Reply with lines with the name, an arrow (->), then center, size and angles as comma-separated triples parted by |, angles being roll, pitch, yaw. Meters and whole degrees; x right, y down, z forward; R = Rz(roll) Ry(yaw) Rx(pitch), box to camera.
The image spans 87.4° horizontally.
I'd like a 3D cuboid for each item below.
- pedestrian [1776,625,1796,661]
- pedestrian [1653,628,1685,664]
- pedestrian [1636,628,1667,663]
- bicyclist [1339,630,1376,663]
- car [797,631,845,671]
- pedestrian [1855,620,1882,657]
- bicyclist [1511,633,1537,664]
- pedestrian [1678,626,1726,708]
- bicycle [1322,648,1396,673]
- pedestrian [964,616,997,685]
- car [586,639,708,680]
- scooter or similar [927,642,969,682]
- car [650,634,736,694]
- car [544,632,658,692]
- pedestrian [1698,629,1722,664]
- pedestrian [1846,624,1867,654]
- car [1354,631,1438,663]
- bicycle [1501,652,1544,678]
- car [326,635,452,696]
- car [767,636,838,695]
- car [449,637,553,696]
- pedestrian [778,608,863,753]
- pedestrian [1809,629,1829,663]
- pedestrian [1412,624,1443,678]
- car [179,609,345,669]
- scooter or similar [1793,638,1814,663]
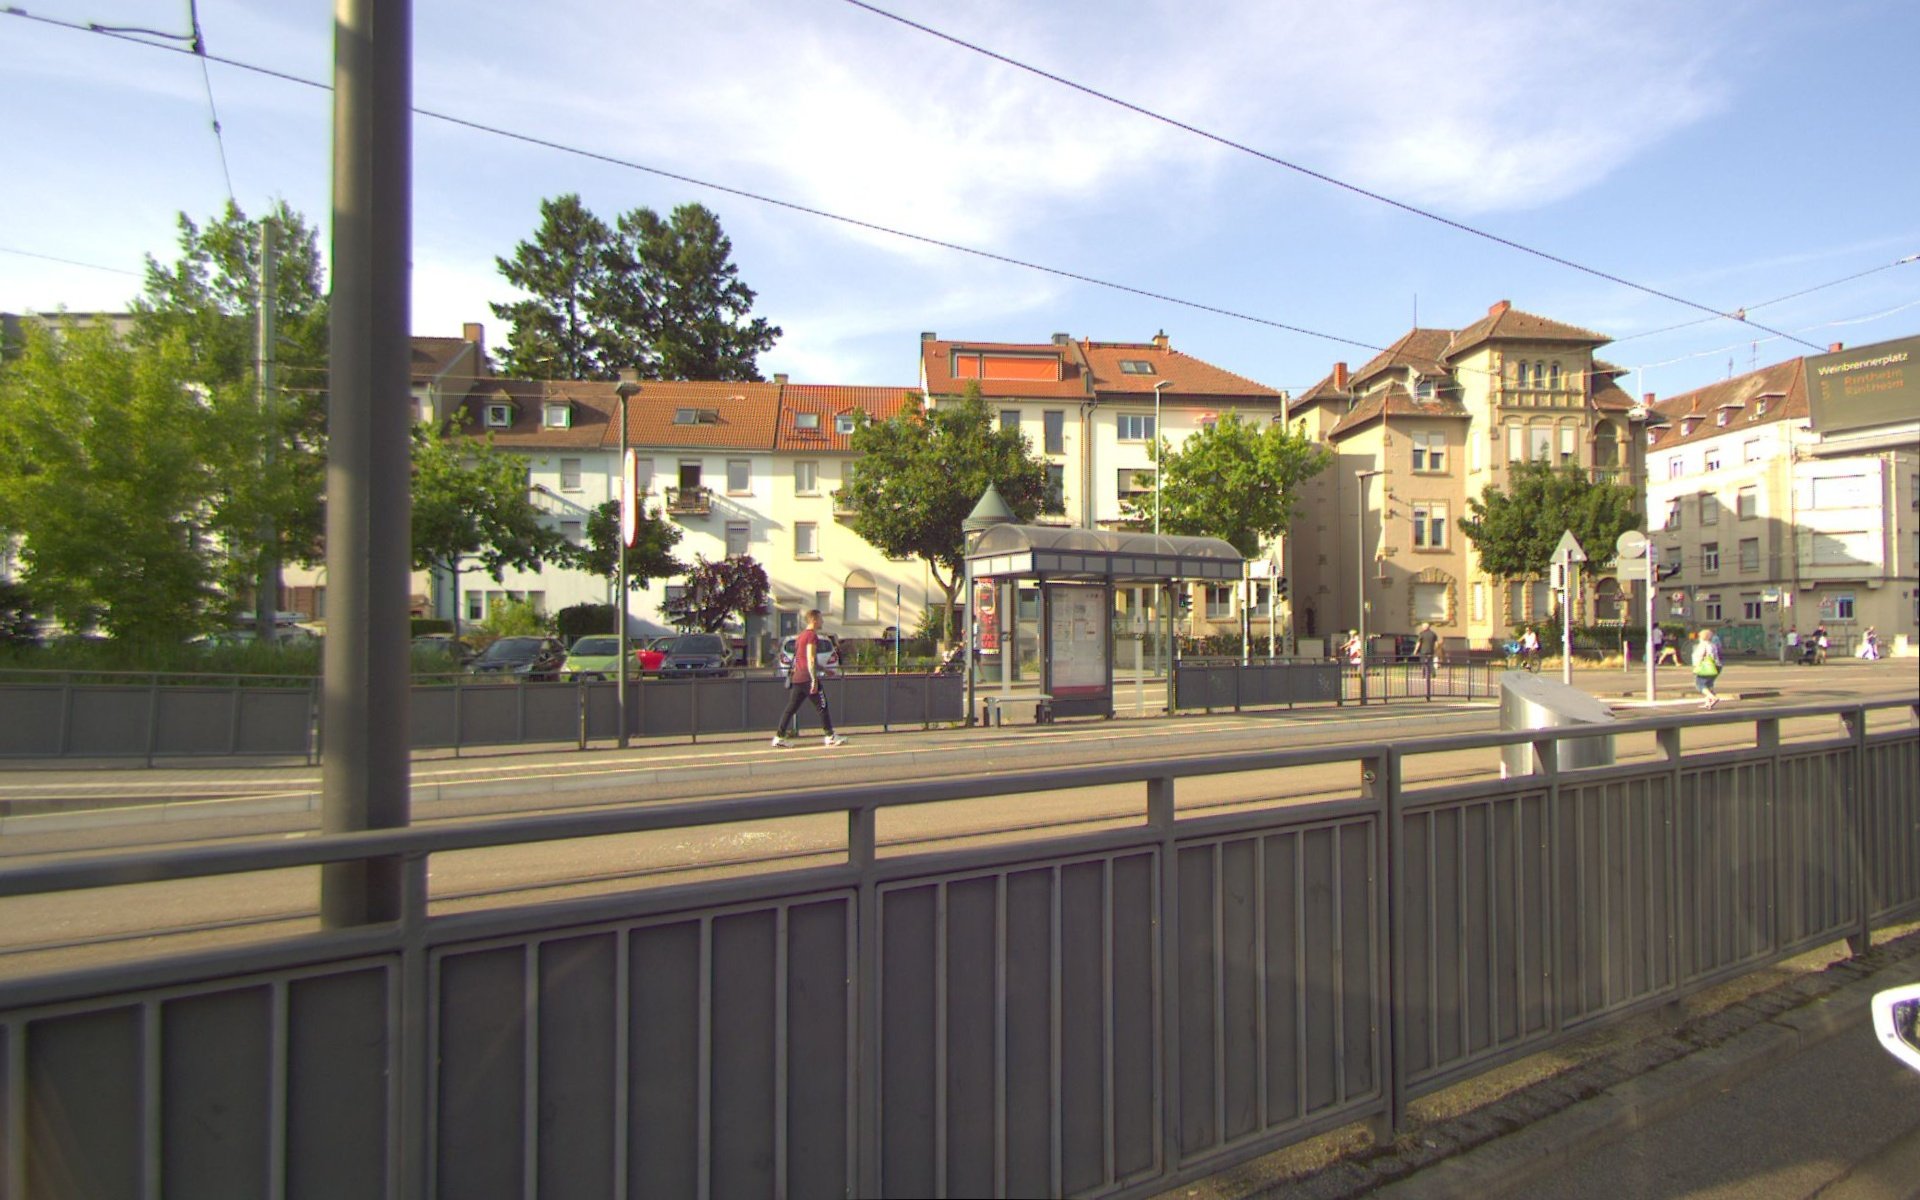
pedestrian -> 37.928, 1.954, 46.131 | 0.601, 1.647, 0.506 | 1, -2, -29
pedestrian -> 31.022, 2.001, 43.966 | 0.768, 1.572, 0.831 | 0, -2, -8
pedestrian -> 30.917, 2.022, 44.926 | 0.768, 1.572, 0.831 | 0, -2, -8
bicyclist -> 15.454, 1.796, 39.055 | 1.157, 1.278, 0.762 | 1, -2, -22
car -> -6.058, 2.199, 44.207 | 1.962, 1.684, 3.997 | 0, -2, -6
pedestrian -> 50.184, 2.118, 55.471 | 0.773, 2.040, 0.775 | 0, -2, -15
bicyclist -> 19.299, 1.651, 34.373 | 0.672, 1.058, 0.510 | 1, -2, -31
pedestrian -> 15.001, 1.350, 20.306 | 0.627, 1.620, 0.608 | 1, -2, -36
bicycle -> 15.518, 2.349, 39.061 | 2.954, 0.926, 0.783 | 1, -2, -22
pedestrian -> 0.523, 1.317, 26.190 | 0.750, 1.769, 0.547 | 0, -2, -15
car -> -11.226, 2.124, 36.247 | 3.927, 1.416, 1.836 | 0, -2, -9
scooter or similar -> -0.316, 1.592, 25.966 | 1.006, 1.001, 0.556 | 0, -2, -15
car -> -7.165, 1.684, 27.286 | 1.815, 1.505, 3.995 | 0, -2, -9
car -> -9.624, 1.642, 27.267 | 1.813, 1.505, 3.999 | 0, -2, -3
pedestrian -> 34.401, 2.119, 46.063 | 0.702, 1.561, 0.626 | 1, -2, -30
pedestrian -> 49.380, 2.151, 55.313 | 0.576, 1.682, 0.620 | 0, -2, -14
car -> 20.370, 2.173, 47.129 | 1.732, 1.327, 4.111 | 2, 0, -7
bicycle -> 19.204, 2.222, 34.300 | 1.667, 0.845, 0.523 | 1, -2, -32
car -> -14.403, 1.602, 25.594 | 1.968, 1.416, 3.985 | 0, -2, -18
car -> -4.348, 1.767, 27.825 | 1.815, 1.505, 3.995 | 0, -2, -9
car -> -11.882, 1.678, 26.254 | 1.968, 1.416, 3.985 | 0, -2, -18
pedestrian -> -1.709, 0.976, 12.312 | 0.867, 1.706, 0.551 | 1, -5, -30
pedestrian -> 38.746, 2.066, 45.291 | 0.540, 1.520, 0.437 | 0, -2, -15
pedestrian -> 14.688, 1.601, 31.569 | 0.778, 1.667, 0.757 | -1, -2, 16
car -> -18.660, 1.052, 27.091 | 1.813, 1.505, 3.999 | 0, -2, -3
scooter or similar -> 38.757, 2.308, 46.135 | 0.675, 1.093, 0.541 | 2, 0, -30
